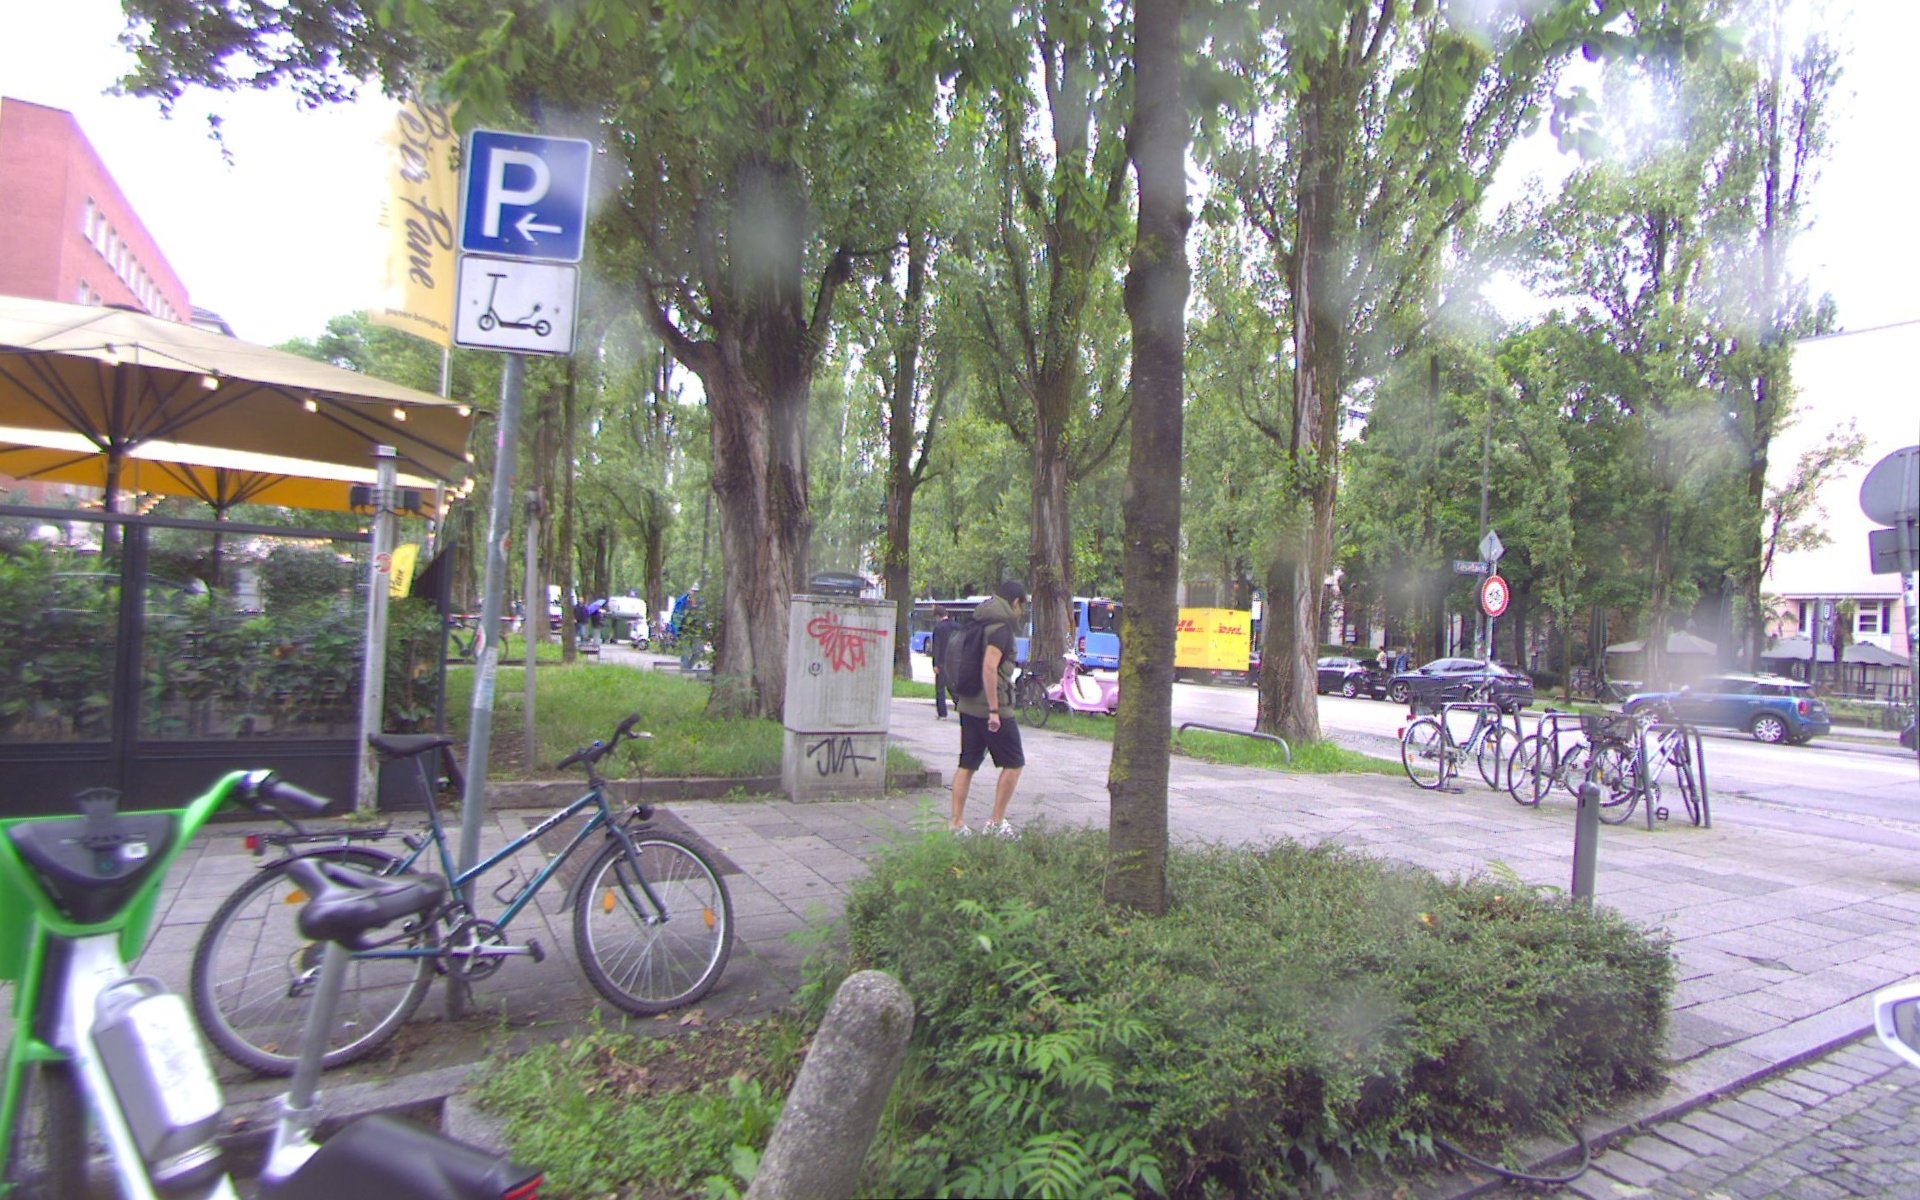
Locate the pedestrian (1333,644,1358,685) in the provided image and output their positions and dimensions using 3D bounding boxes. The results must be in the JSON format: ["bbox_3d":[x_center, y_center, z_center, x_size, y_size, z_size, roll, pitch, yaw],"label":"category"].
[{"bbox_3d":[17.136,2.856,44.658,0.701,1.736,0.726,4,-2,-29],"label":"pedestrian"}]

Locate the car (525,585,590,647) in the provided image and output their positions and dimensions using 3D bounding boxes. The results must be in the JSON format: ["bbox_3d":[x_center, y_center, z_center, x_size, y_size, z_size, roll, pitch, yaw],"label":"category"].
[{"bbox_3d":[-21.774,0.819,54.144,2.176,3.056,5.949,4,-2,-31],"label":"car"}]

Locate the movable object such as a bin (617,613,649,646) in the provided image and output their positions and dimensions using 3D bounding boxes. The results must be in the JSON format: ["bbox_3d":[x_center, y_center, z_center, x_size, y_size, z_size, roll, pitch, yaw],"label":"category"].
[{"bbox_3d":[-14.292,1.288,43.933,1.052,1.329,0.975,4,-2,-33],"label":"movable object such as a bin"}]

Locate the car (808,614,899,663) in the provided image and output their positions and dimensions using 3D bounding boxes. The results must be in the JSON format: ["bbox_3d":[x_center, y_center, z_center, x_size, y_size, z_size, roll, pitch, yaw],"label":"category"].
[{"bbox_3d":[-4.073,1.429,37.851,1.988,1.601,3.970,4,-2,-28],"label":"car"}]

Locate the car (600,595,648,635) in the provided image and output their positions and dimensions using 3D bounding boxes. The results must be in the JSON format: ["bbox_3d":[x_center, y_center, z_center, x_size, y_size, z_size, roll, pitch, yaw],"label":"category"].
[{"bbox_3d":[-23.990,1.039,71.573,1.989,2.666,5.953,4,-2,-29],"label":"car"}]

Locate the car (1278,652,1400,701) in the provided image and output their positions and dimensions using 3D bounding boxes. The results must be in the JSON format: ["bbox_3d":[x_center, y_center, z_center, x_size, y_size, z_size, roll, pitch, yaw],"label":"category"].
[{"bbox_3d":[13.563,2.722,36.123,1.772,1.430,3.851,4,-2,-29],"label":"car"}]

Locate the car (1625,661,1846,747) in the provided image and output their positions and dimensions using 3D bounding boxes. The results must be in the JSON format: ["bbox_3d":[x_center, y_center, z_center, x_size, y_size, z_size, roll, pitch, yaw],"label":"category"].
[{"bbox_3d":[19.568,2.592,25.528,1.774,1.754,4.044,6,-3,-31],"label":"car"}]

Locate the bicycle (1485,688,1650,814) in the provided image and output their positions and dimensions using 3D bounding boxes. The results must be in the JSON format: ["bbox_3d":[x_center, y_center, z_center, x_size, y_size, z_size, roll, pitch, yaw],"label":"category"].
[{"bbox_3d":[5.869,1.441,9.681,1.680,1.107,0.488,4,-2,-25],"label":"bicycle"}]

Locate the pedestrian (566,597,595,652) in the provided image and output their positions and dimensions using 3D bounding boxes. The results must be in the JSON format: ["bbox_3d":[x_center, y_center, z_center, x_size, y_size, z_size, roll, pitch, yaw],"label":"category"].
[{"bbox_3d":[-12.359,0.795,32.700,0.726,1.715,0.642,4,-1,-26],"label":"pedestrian"}]

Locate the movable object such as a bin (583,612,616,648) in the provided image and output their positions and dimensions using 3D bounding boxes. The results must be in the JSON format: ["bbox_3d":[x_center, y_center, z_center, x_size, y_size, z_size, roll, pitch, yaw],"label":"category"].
[{"bbox_3d":[-15.236,1.260,42.459,1.052,1.423,0.975,4,-2,-33],"label":"movable object such as a bin"}]

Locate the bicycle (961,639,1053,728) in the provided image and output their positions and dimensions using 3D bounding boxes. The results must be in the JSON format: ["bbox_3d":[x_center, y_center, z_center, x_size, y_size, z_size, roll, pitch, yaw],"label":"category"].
[{"bbox_3d":[0.684,1.233,15.134,0.576,1.204,1.603,4,-2,-29],"label":"bicycle"}]

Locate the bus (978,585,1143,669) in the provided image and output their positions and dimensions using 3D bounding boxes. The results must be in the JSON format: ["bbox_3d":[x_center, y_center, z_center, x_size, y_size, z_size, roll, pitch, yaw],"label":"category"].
[{"bbox_3d":[3.975,1.113,42.259,2.889,3.091,8.463,4,-2,-25],"label":"bus"}]

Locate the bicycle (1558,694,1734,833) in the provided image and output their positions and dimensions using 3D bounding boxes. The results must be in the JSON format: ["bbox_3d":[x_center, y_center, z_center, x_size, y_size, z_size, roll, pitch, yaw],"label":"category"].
[{"bbox_3d":[6.110,1.429,8.920,1.680,1.107,0.488,4,-2,-25],"label":"bicycle"}]

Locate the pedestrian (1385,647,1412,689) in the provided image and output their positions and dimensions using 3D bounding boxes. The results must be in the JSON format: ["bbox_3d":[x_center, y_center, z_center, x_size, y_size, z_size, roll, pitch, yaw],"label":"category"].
[{"bbox_3d":[18.791,2.900,43.023,0.701,1.736,0.726,4,-2,-29],"label":"pedestrian"}]

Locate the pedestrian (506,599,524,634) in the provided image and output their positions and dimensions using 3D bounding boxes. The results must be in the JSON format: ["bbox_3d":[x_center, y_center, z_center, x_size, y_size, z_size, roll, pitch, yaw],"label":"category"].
[{"bbox_3d":[-22.544,0.848,50.859,0.726,1.715,0.642,4,-1,-26],"label":"pedestrian"}]

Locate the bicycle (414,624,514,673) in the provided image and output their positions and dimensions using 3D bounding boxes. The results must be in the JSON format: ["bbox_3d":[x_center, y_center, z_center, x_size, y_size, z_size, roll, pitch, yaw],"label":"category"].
[{"bbox_3d":[-10.382,1.023,21.045,1.783,0.924,0.615,4,-2,-33],"label":"bicycle"}]

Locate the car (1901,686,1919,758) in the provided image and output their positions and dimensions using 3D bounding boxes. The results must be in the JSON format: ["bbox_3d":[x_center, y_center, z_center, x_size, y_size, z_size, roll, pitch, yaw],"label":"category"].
[{"bbox_3d":[22.492,2.706,20.487,1.772,1.549,4.479,4,-2,-29],"label":"car"}]

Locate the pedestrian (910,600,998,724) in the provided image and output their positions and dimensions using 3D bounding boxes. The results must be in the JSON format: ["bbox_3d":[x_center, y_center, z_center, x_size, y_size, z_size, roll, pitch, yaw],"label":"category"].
[{"bbox_3d":[-0.100,0.895,14.621,0.849,1.733,0.951,4,-2,-32],"label":"pedestrian"}]

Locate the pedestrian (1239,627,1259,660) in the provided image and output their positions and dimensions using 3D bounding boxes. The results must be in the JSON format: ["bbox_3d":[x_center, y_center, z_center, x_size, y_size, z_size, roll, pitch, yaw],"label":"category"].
[{"bbox_3d":[15.301,2.289,53.140,0.701,1.736,0.726,4,-3,-29],"label":"pedestrian"}]

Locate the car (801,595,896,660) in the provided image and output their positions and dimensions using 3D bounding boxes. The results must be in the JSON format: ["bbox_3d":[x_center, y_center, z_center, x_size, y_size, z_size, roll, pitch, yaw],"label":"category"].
[{"bbox_3d":[-5.121,1.205,45.096,2.022,2.687,5.994,2,-1,-29],"label":"car"}]

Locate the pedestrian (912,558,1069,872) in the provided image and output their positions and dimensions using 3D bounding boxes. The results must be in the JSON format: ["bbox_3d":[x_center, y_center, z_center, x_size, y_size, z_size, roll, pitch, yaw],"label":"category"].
[{"bbox_3d":[0.211,0.676,6.267,0.737,1.796,0.706,2,-1,17],"label":"pedestrian"}]

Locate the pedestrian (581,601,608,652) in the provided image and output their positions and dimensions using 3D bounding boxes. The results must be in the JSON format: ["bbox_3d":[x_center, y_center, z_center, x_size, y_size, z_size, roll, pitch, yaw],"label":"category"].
[{"bbox_3d":[-12.852,0.930,35.336,0.726,1.715,0.642,4,-1,-26],"label":"pedestrian"}]

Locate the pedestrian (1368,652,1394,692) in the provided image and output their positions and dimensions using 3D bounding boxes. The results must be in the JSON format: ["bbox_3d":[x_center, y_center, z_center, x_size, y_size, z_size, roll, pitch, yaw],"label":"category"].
[{"bbox_3d":[18.821,3.208,44.925,0.701,1.736,0.726,4,-2,-29],"label":"pedestrian"}]

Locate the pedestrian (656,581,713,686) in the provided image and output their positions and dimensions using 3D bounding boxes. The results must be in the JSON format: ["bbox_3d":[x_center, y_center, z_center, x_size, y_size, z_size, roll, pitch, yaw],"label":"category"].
[{"bbox_3d":[-5.215,0.640,19.002,0.634,1.933,0.701,2,-2,36],"label":"pedestrian"}]

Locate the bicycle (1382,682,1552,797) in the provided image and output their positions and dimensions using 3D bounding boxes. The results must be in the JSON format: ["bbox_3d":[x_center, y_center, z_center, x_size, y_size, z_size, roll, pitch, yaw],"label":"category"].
[{"bbox_3d":[5.384,1.464,10.631,1.957,1.107,0.488,4,-2,-25],"label":"bicycle"}]

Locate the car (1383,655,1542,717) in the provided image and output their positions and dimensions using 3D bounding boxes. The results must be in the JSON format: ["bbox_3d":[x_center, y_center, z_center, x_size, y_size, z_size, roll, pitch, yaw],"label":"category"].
[{"bbox_3d":[15.793,2.678,31.768,1.772,1.621,4.204,4,-2,-29],"label":"car"}]

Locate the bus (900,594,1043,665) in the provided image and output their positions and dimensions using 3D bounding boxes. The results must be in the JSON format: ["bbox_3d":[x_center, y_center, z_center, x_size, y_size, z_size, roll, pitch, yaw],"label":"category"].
[{"bbox_3d":[0.293,1.413,49.882,2.890,3.091,9.730,4,-2,-26],"label":"bus"}]

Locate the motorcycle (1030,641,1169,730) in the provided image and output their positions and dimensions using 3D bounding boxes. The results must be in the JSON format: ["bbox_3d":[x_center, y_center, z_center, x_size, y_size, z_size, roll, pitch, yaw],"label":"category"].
[{"bbox_3d":[2.108,1.268,15.168,1.951,1.211,0.630,2,-2,17],"label":"motorcycle"}]

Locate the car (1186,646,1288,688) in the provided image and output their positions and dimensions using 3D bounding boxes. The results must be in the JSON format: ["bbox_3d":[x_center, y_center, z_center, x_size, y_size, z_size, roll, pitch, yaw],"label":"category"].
[{"bbox_3d":[11.169,2.690,40.760,1.772,1.430,3.851,4,-2,-29],"label":"car"}]

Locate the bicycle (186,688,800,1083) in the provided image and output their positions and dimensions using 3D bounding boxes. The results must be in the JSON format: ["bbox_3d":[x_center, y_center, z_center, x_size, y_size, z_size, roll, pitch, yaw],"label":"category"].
[{"bbox_3d":[-1.492,0.853,3.451,1.744,1.035,0.549,4,-2,-32],"label":"bicycle"}]

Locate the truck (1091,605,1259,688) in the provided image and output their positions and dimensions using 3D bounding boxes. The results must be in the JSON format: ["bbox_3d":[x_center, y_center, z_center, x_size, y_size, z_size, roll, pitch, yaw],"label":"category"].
[{"bbox_3d":[8.448,1.757,40.388,2.570,2.945,7.027,4,-2,-28],"label":"truck"}]

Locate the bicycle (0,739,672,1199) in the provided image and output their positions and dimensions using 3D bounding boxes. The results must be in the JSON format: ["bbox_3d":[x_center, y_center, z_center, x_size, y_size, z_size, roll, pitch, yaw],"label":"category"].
[{"bbox_3d":[-1.333,0.911,1.623,1.731,1.158,0.553,2,-2,29],"label":"bicycle"}]
